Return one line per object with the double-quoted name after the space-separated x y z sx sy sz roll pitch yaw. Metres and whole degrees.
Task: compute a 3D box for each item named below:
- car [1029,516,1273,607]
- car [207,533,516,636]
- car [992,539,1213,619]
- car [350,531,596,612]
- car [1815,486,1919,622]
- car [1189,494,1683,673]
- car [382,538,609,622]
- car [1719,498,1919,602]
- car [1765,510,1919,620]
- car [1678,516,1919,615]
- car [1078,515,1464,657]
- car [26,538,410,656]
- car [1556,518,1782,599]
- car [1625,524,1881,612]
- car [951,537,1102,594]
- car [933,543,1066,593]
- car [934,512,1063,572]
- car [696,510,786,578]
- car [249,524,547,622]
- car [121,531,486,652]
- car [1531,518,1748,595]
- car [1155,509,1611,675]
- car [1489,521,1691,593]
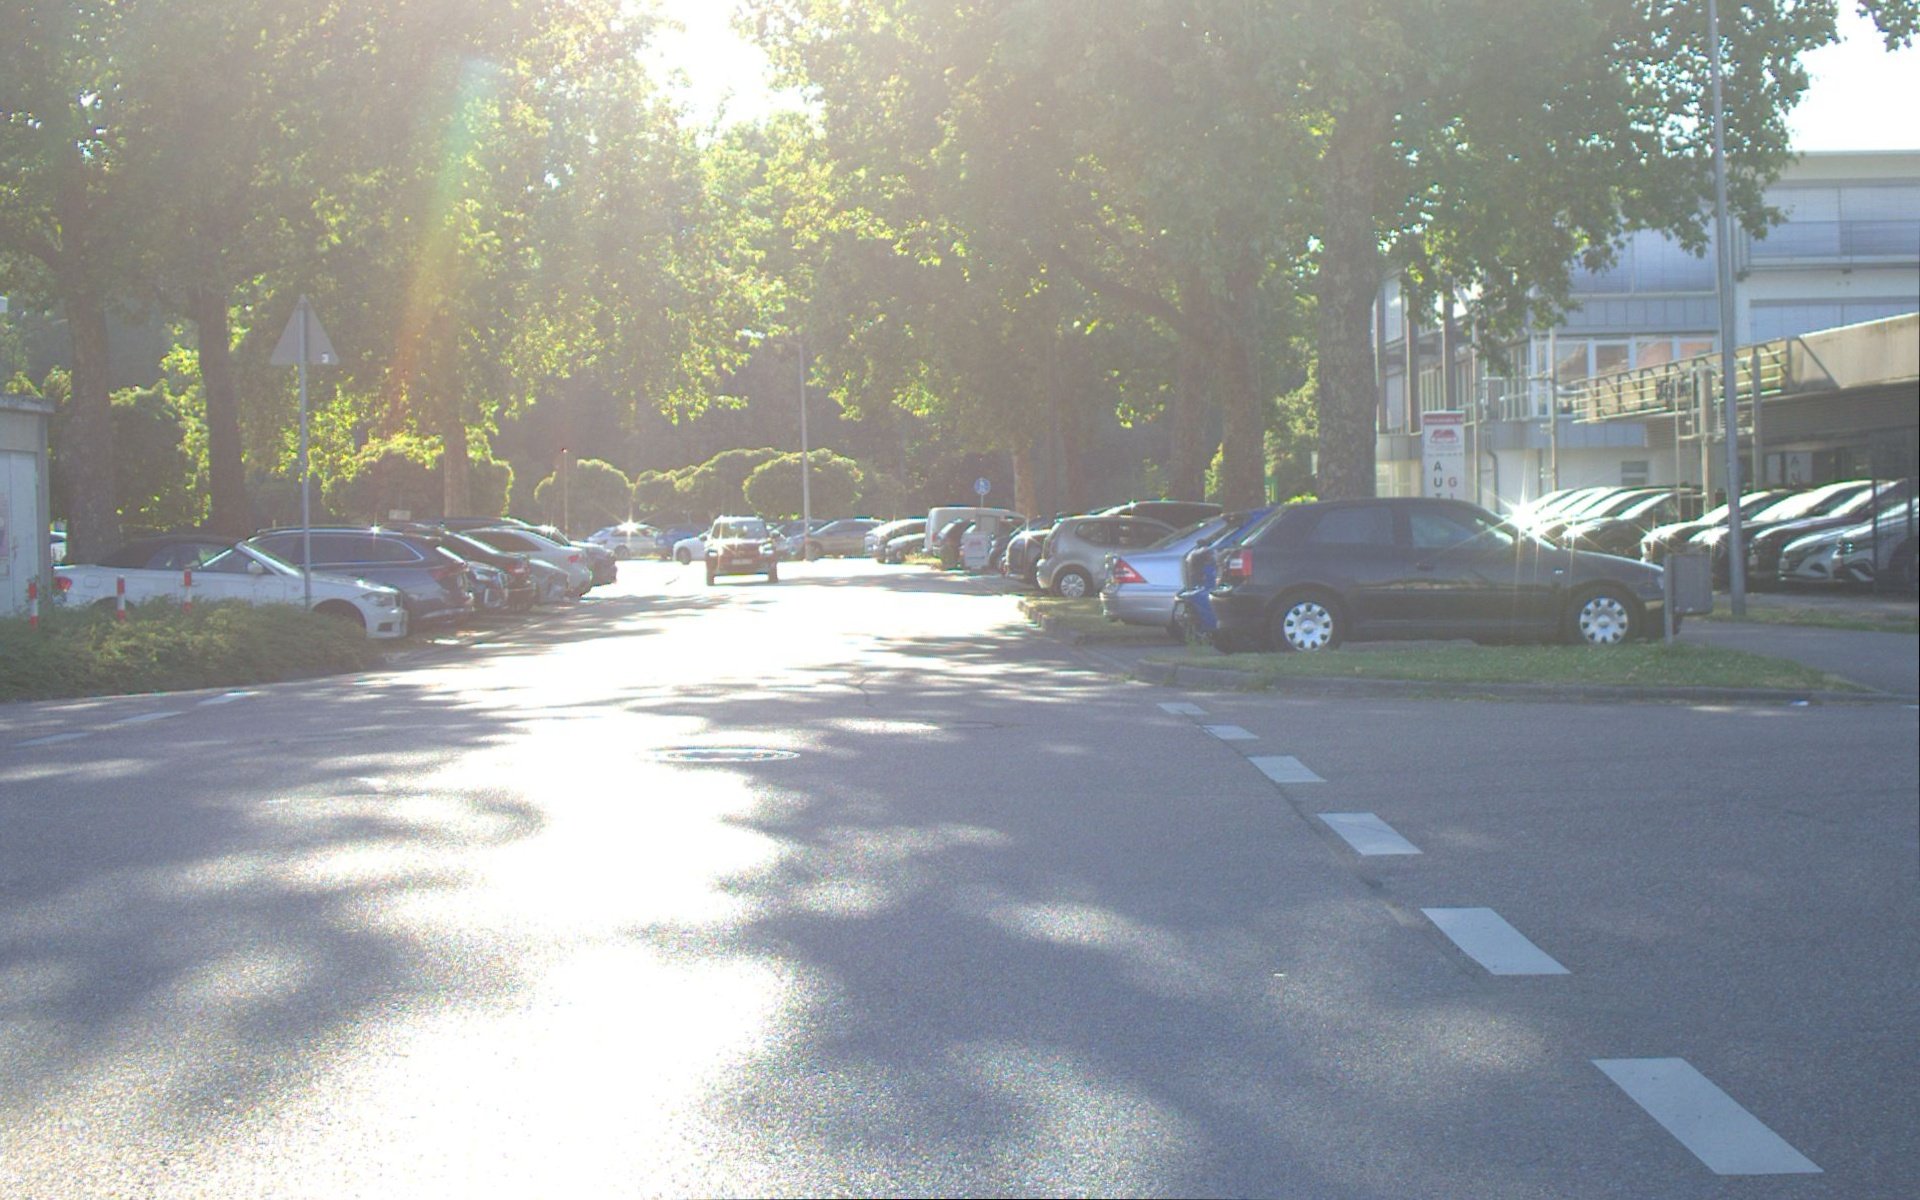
3.212 -0.654 58.344 3.987 1.411 1.827 -1 1 -1 "car"
-8.963 -0.240 51.805 4.415 1.511 2.000 0 1 -4 "car"
2.639 -0.401 64.319 3.987 1.376 1.827 -1 1 -1 "car"
-9.315 -0.542 66.006 4.415 1.511 2.000 0 1 1 "car"
13.993 -0.618 47.161 3.986 1.826 2.000 0 1 -2 "car"
4.104 -0.150 30.131 3.987 1.411 2.000 -1 1 -1 "car"
-9.581 -0.420 71.146 4.415 1.692 2.000 0 1 1 "car"
13.756 -0.748 52.146 3.986 1.541 2.000 0 1 -2 "car"
13.894 -0.504 49.715 3.986 1.541 2.000 0 1 -2 "car"
13.686 -0.553 54.877 3.986 1.541 2.000 0 1 -2 "car"
3.339 -0.161 37.465 3.987 1.411 1.827 -1 1 -1 "car"
-9.045 -0.042 42.196 4.414 1.398 2.000 0 1 -6 "car"
13.941 -0.816 67.745 3.986 1.541 2.000 0 1 -2 "car"
13.891 -0.563 60.354 3.986 1.499 2.000 0 1 -2 "car"
1.776 -0.927 92.926 3.987 1.411 1.827 -1 1 -1 "car"
1.193 -0.985 105.670 3.987 1.411 1.827 -1 1 -1 "car"
1.212 -1.831 108.944 3.987 1.771 1.827 -1 1 -1 "car"
-5.393 -1.367 85.078 1.993 1.603 4.000 1 1 -1 "car"
-8.936 -0.432 54.938 4.415 1.511 2.000 0 1 1 "car"
-8.473 -0.116 44.671 4.415 1.511 2.000 0 1 -2 "car"
13.871 -0.886 70.310 3.986 1.541 2.000 0 1 -2 "car"
3.924 -0.083 32.419 3.987 1.411 2.000 -1 1 -1 "car"
13.746 -0.941 75.183 3.986 1.541 2.000 0 1 -2 "car"
